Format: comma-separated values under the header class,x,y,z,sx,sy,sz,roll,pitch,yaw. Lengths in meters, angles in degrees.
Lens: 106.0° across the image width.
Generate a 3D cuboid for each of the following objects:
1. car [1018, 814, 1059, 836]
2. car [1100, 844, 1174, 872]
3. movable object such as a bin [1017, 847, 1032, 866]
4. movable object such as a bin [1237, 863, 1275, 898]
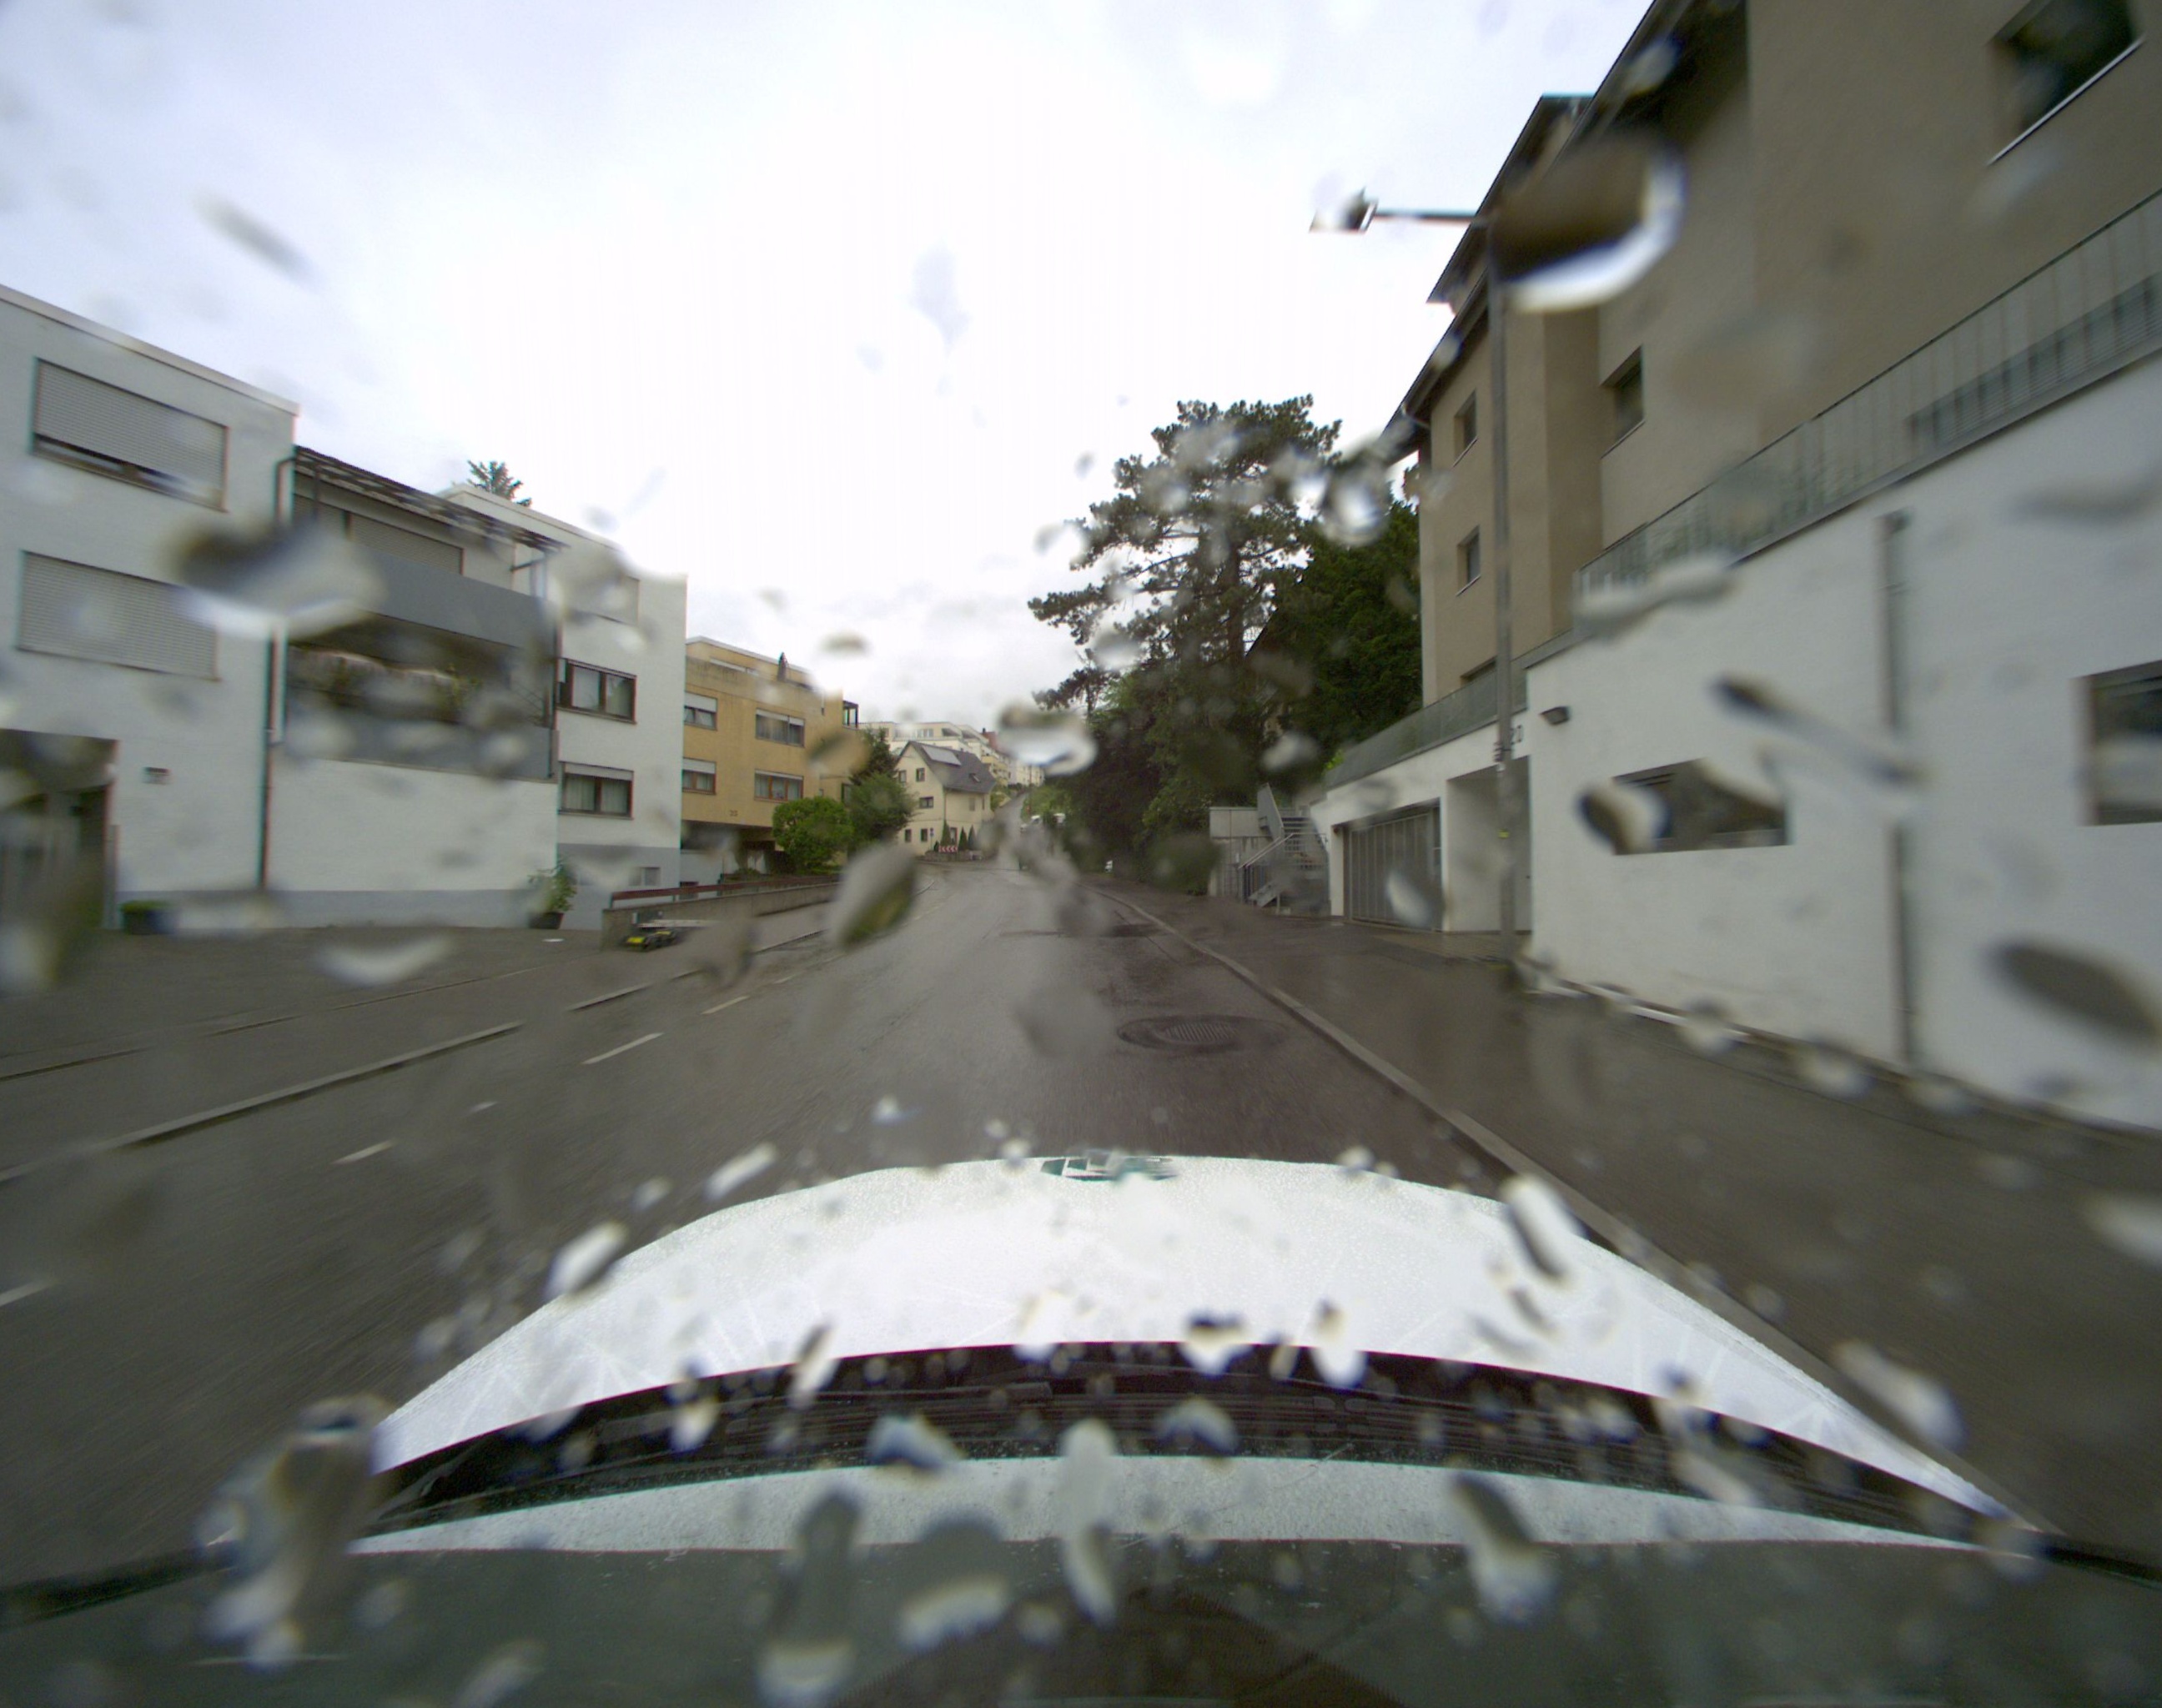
class,x,y,z,sx,sy,sz,roll,pitch,yaw
car,-5.386,-3.653,103.365,4.944,2.569,1.898,-3,1,-10
car,3.361,0.236,49.391,4.139,1.476,1.900,-3,1,-7
movable object such as a bin,-4.292,0.206,62.086,1.079,1.442,1.456,0,1,-3
movable object such as a bin,4.934,0.747,23.004,0.872,0.941,0.745,-1,0,-4
